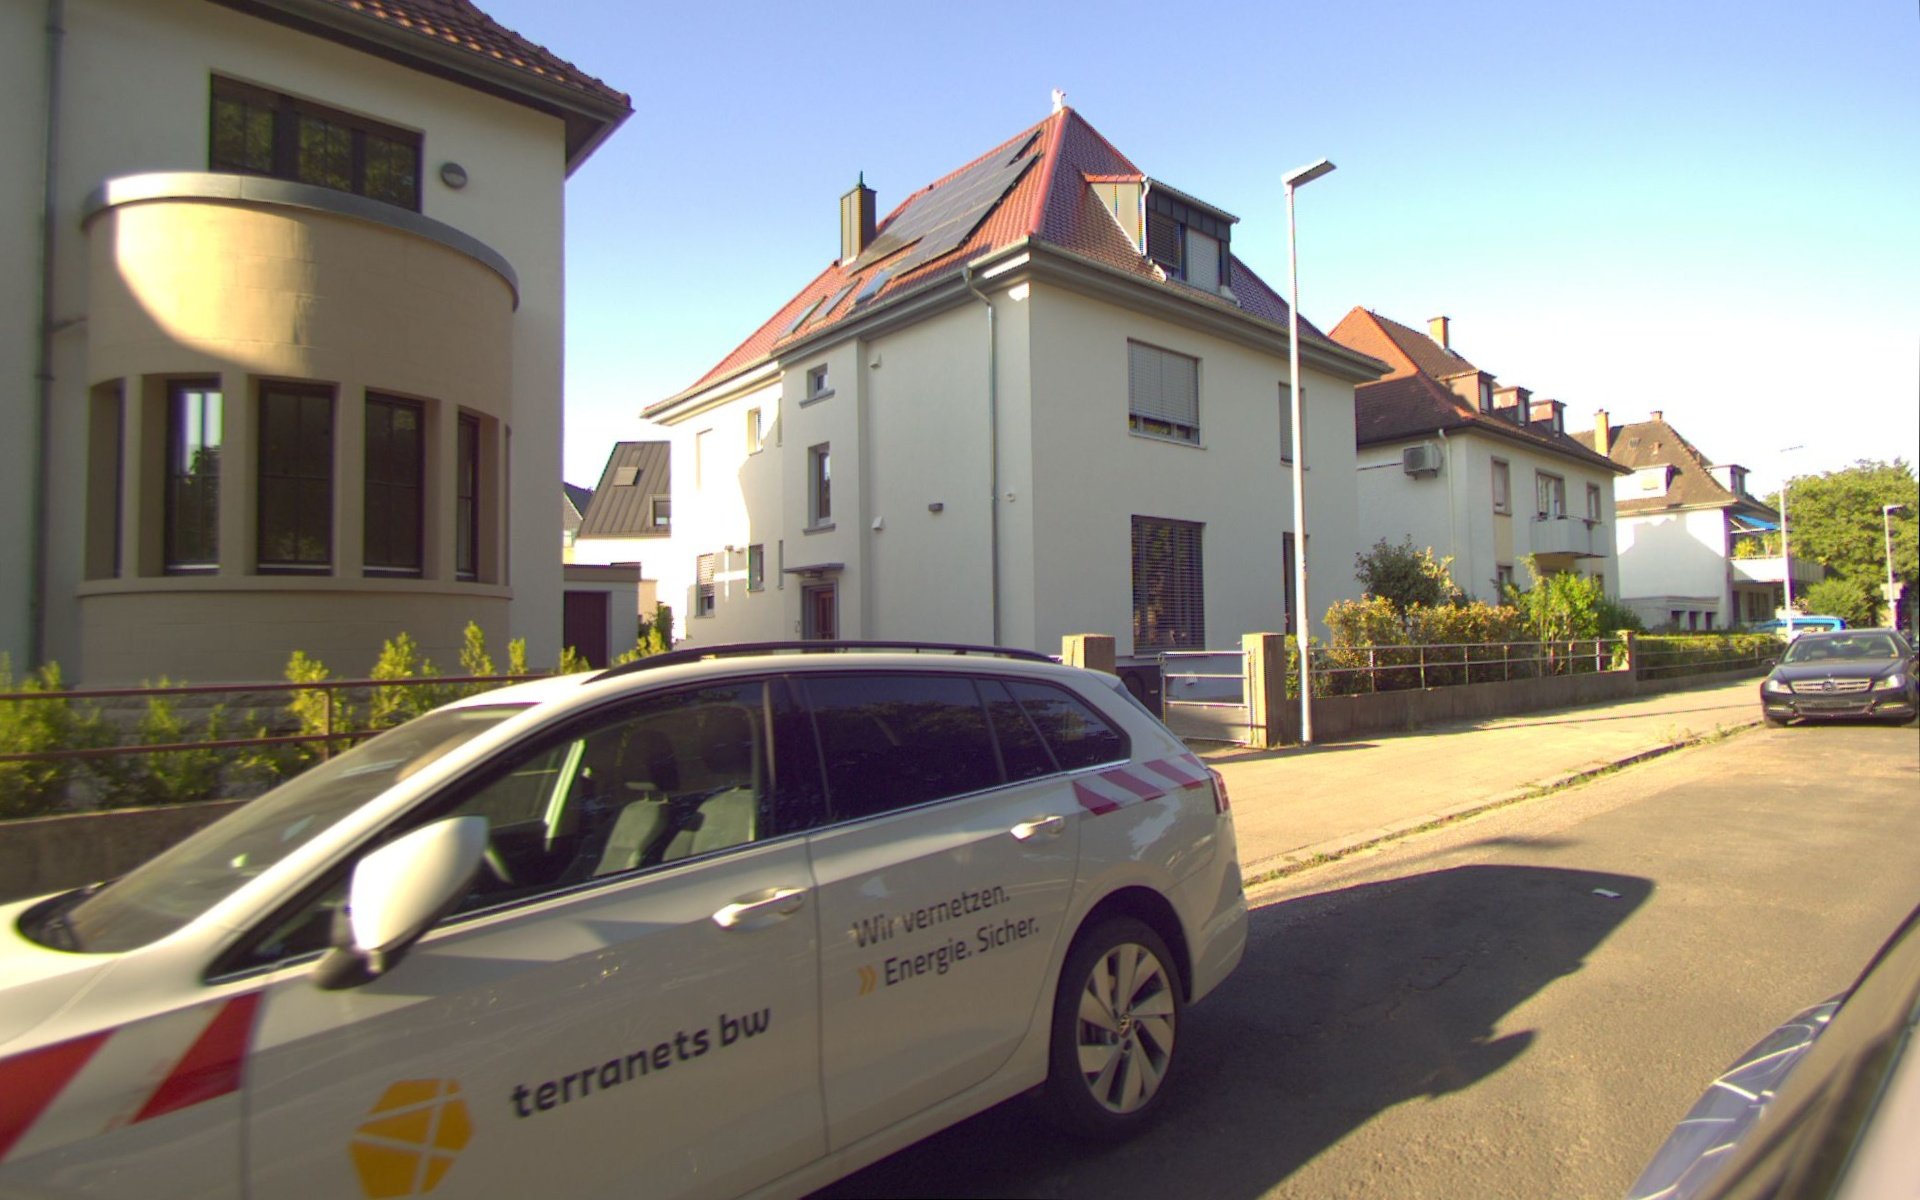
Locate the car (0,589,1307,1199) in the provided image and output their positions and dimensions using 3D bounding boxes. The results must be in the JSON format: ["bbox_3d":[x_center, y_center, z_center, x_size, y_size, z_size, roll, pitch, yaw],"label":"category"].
[{"bbox_3d":[-0.989,0.788,3.002,4.475,1.483,1.994,1,-3,-44],"label":"car"}]

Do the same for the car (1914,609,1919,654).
[{"bbox_3d":[27.234,1.036,27.204,4.391,1.743,1.859,1,-7,-43],"label":"car"}]

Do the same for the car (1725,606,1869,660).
[{"bbox_3d":[32.005,1.304,38.749,1.967,1.953,3.989,2,-4,-44],"label":"car"}]

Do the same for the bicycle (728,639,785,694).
[{"bbox_3d":[-4.451,1.440,22.053,0.399,1.157,1.722,1,-3,-42],"label":"bicycle"}]

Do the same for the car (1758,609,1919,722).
[{"bbox_3d":[14.053,0.986,15.757,4.322,1.519,1.781,1,-6,-43],"label":"car"}]
